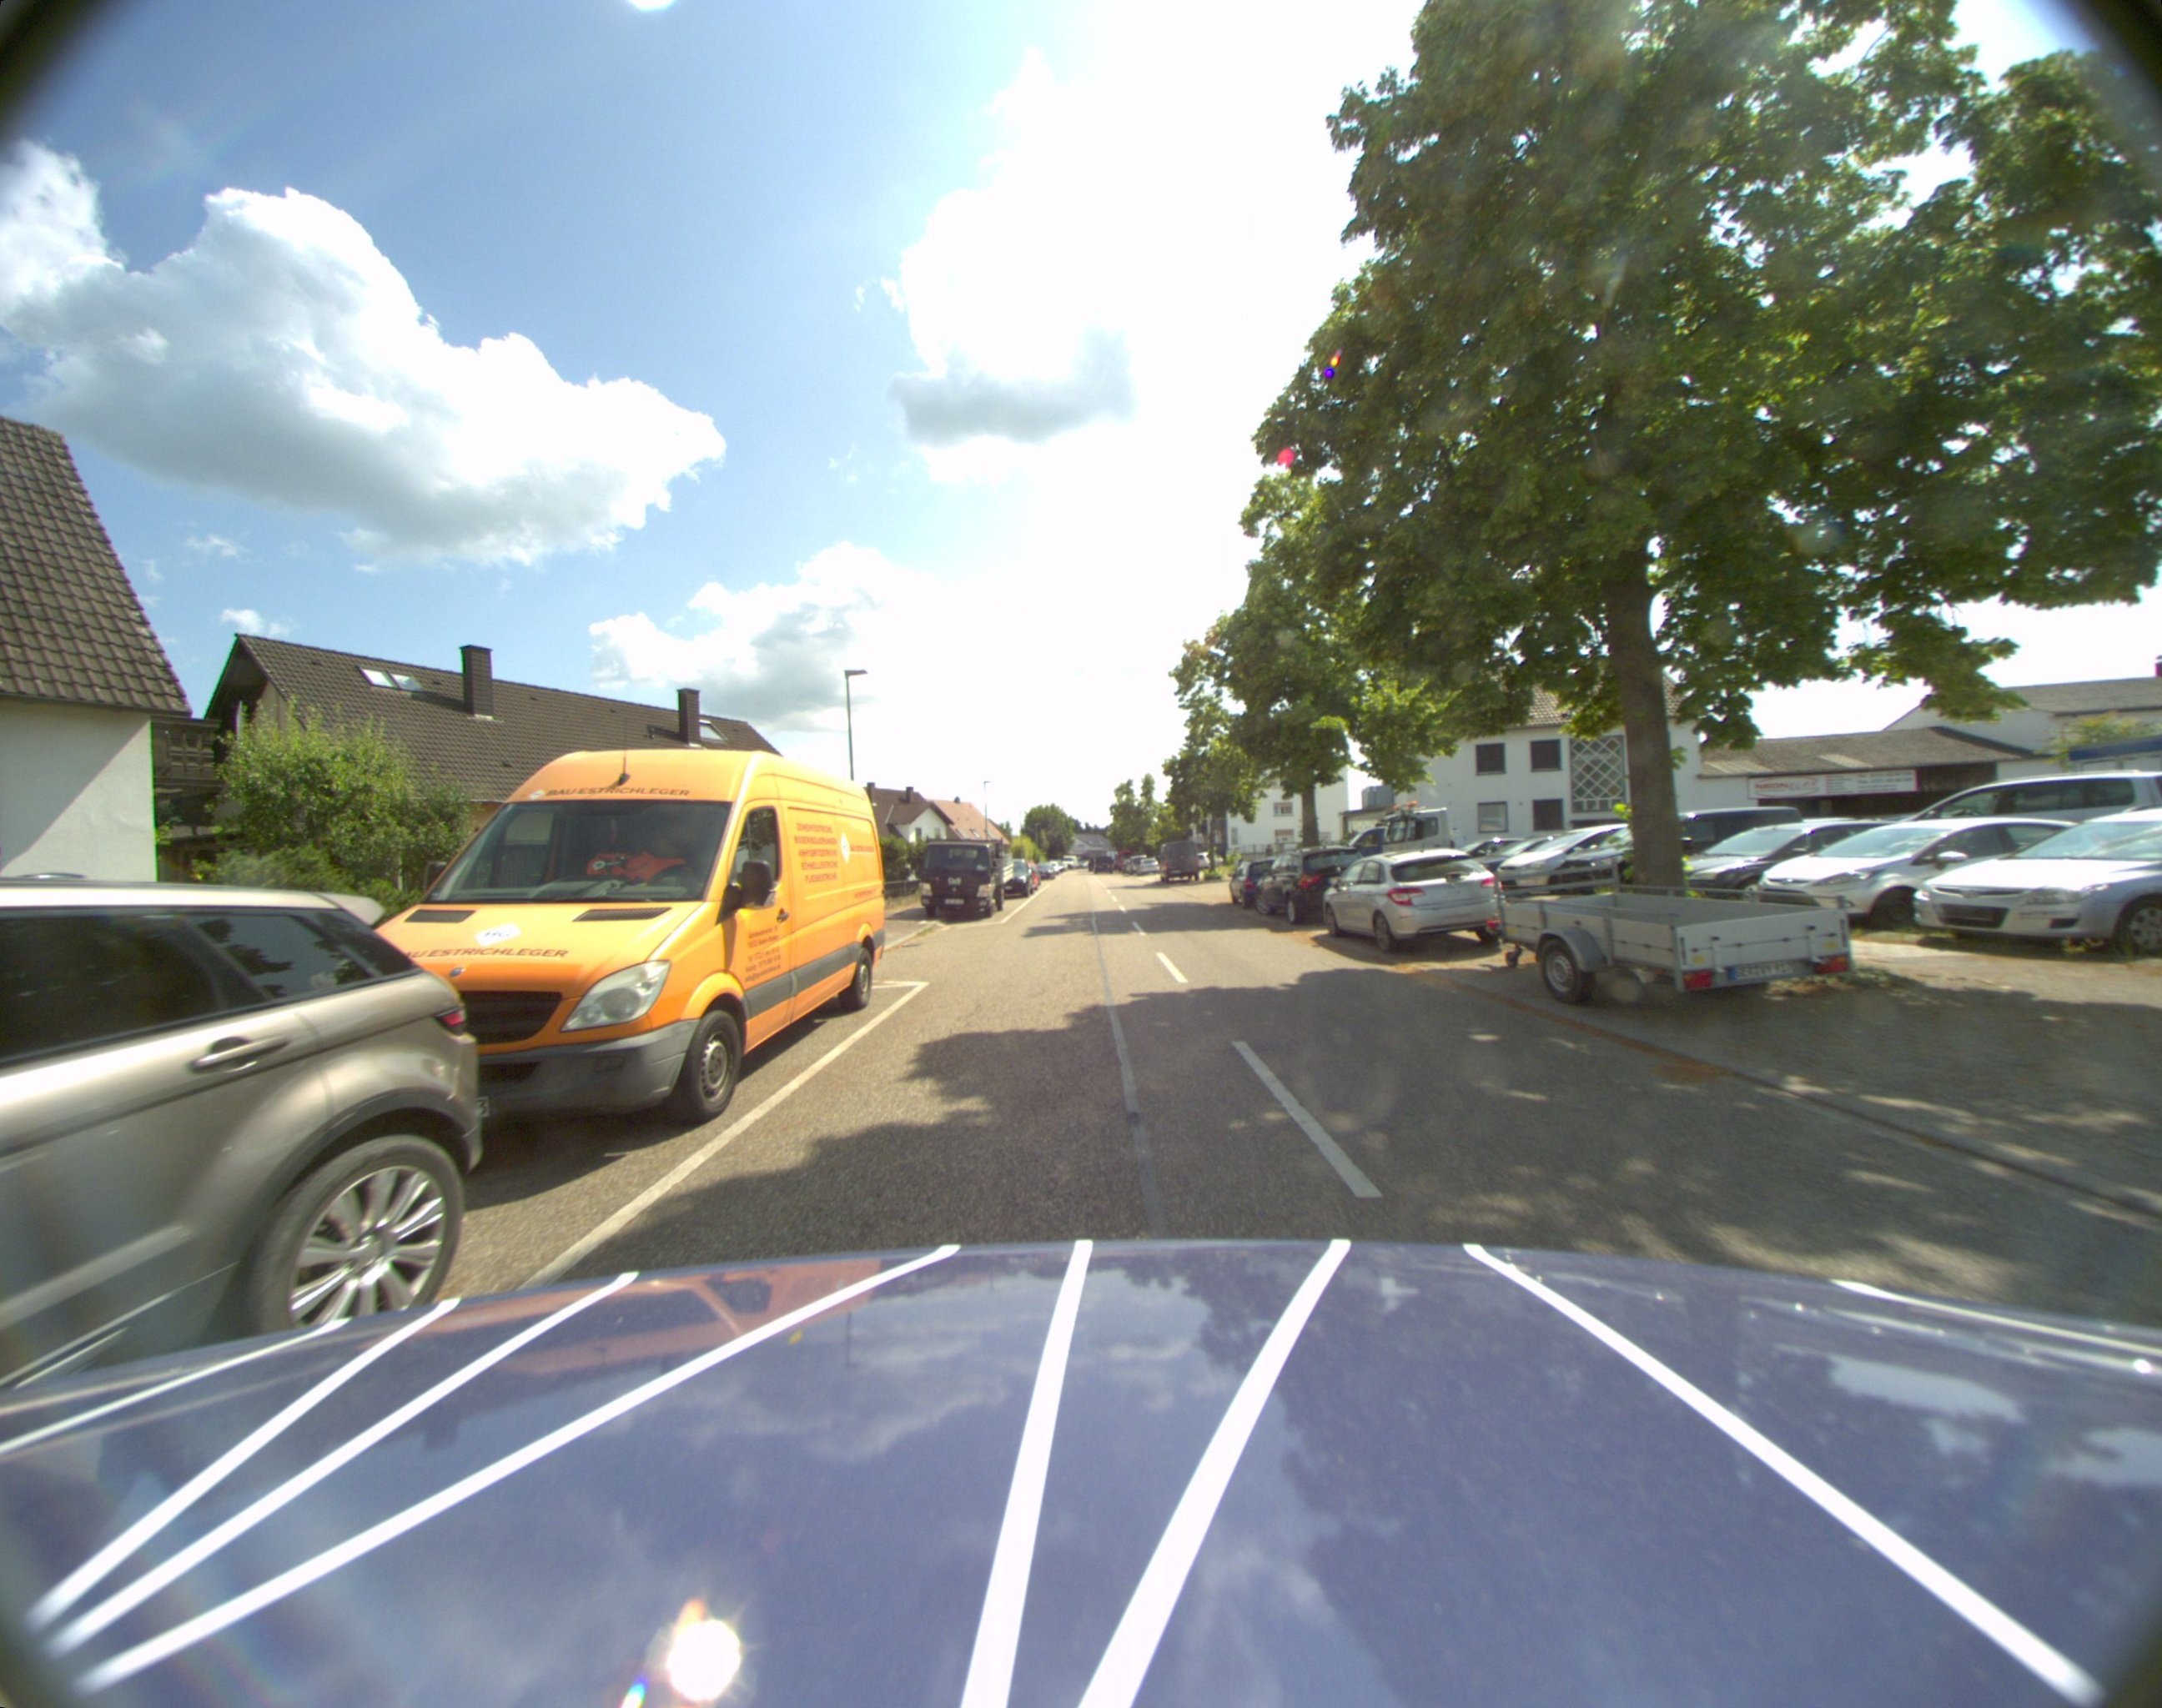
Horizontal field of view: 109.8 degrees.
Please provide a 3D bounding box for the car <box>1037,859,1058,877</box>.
[{"bbox_3d":[-2.938,1.220,67.500,1.748,1.541,4.121,-1,0,-1],"label":"car"}]

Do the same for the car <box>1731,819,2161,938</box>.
[{"bbox_3d":[12.145,0.315,10.809,4.154,1.422,1.827,-2,1,3],"label":"car"}]

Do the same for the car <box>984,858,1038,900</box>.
[{"bbox_3d":[-3.020,1.051,33.752,1.834,1.652,4.554,-3,0,1],"label":"car"}]

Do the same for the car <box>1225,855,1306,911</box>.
[{"bbox_3d":[5.519,0.804,23.205,1.703,1.475,4.160,-3,0,4],"label":"car"}]

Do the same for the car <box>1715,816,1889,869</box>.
[{"bbox_3d":[27.828,-0.450,29.515,4.487,1.782,2.001,-2,1,13],"label":"car"}]

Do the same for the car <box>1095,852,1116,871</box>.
[{"bbox_3d":[2.666,0.781,83.827,2.056,2.022,5.141,-1,0,0],"label":"car"}]

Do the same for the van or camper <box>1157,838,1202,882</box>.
[{"bbox_3d":[5.895,0.322,46.125,1.998,2.303,5.934,-5,0,3],"label":"van or camper"}]

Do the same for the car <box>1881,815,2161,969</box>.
[{"bbox_3d":[11.922,0.325,8.379,4.154,1.481,1.827,-2,1,3],"label":"car"}]

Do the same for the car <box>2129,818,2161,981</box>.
[{"bbox_3d":[11.784,0.355,6.103,4.035,1.481,1.827,-2,1,3],"label":"car"}]

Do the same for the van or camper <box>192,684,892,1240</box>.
[{"bbox_3d":[-3.344,0.531,6.617,1.999,2.648,5.768,-2,0,-2],"label":"van or camper"}]

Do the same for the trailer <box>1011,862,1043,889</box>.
[{"bbox_3d":[-3.148,1.233,45.017,1.612,1.370,4.432,-3,0,-1],"label":"trailer"}]

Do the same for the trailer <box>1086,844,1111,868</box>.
[{"bbox_3d":[2.286,0.221,103.436,2.842,3.051,8.888,-2,0,-2],"label":"trailer"}]

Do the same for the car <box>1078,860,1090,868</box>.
[{"bbox_3d":[0.602,1.868,146.478,1.818,1.513,4.267,-1,-1,8],"label":"car"}]

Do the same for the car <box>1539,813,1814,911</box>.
[{"bbox_3d":[12.088,0.150,15.651,4.154,1.778,1.827,-2,1,3],"label":"car"}]

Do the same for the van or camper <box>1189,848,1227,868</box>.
[{"bbox_3d":[11.752,0.344,70.090,1.777,1.534,4.007,-4,0,36],"label":"van or camper"}]

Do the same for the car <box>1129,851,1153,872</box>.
[{"bbox_3d":[5.894,0.745,75.161,1.814,1.795,4.491,-6,0,0],"label":"car"}]

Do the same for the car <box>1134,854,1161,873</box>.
[{"bbox_3d":[6.086,0.893,69.730,1.753,1.452,4.709,-6,-1,-2],"label":"car"}]

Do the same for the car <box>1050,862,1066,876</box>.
[{"bbox_3d":[-2.992,1.933,100.510,1.896,1.763,4.709,-2,0,-1],"label":"car"}]

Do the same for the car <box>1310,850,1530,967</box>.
[{"bbox_3d":[5.387,0.766,12.771,1.837,1.519,4.237,-4,0,2],"label":"car"}]

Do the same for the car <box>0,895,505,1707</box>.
[{"bbox_3d":[-3.211,1.012,0.842,1.837,1.630,4.239,-2,0,0],"label":"car"}]

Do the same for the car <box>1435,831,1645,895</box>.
[{"bbox_3d":[12.312,0.244,20.615,4.536,1.573,1.828,-1,0,2],"label":"car"}]

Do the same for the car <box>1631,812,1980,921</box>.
[{"bbox_3d":[12.238,0.190,13.080,4.154,1.609,1.827,-2,1,3],"label":"car"}]

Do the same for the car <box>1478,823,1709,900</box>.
[{"bbox_3d":[12.195,0.179,18.288,4.305,1.605,1.827,-2,0,-1],"label":"car"}]

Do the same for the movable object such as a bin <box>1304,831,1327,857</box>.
[{"bbox_3d":[15.385,-0.641,49.869,1.311,1.422,1.606,-3,-6,17],"label":"movable object such as a bin"}]

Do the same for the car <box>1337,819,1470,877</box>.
[{"bbox_3d":[13.918,-0.268,33.068,5.008,2.219,2.001,-2,1,13],"label":"car"}]

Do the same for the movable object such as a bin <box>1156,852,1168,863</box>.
[{"bbox_3d":[11.221,0.495,105.447,1.299,1.377,1.291,-3,-1,-6],"label":"movable object such as a bin"}]

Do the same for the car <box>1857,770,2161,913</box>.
[{"bbox_3d":[15.874,-0.201,12.643,1.715,2.002,3.999,-2,0,-2],"label":"car"}]

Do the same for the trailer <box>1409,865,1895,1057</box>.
[{"bbox_3d":[5.415,0.865,8.165,1.766,1.282,4.508,-5,0,1],"label":"trailer"}]

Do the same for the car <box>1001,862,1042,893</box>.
[{"bbox_3d":[-3.068,1.199,39.829,1.689,1.427,4.146,-3,0,1],"label":"car"}]

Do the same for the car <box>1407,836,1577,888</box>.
[{"bbox_3d":[12.349,0.237,23.033,4.207,1.450,1.679,-1,0,2],"label":"car"}]

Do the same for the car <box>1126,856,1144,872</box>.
[{"bbox_3d":[5.778,1.035,81.378,1.626,1.460,3.925,-5,0,1],"label":"car"}]

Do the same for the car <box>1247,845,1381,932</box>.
[{"bbox_3d":[5.331,0.722,17.999,1.697,1.690,4.400,-5,0,0],"label":"car"}]

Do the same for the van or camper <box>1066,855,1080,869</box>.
[{"bbox_3d":[-1.292,1.418,132.012,1.972,2.345,5.760,-1,0,4],"label":"van or camper"}]

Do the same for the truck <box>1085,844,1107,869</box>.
[{"bbox_3d":[2.098,0.348,109.800,2.780,3.478,5.881,-2,0,-1],"label":"truck"}]

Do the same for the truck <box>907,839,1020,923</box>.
[{"bbox_3d":[-3.478,0.738,23.861,2.528,2.286,5.895,1,0,1],"label":"truck"}]

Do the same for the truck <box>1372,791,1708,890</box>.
[{"bbox_3d":[14.909,-0.395,25.308,9.278,2.839,2.721,-2,0,5],"label":"truck"}]
